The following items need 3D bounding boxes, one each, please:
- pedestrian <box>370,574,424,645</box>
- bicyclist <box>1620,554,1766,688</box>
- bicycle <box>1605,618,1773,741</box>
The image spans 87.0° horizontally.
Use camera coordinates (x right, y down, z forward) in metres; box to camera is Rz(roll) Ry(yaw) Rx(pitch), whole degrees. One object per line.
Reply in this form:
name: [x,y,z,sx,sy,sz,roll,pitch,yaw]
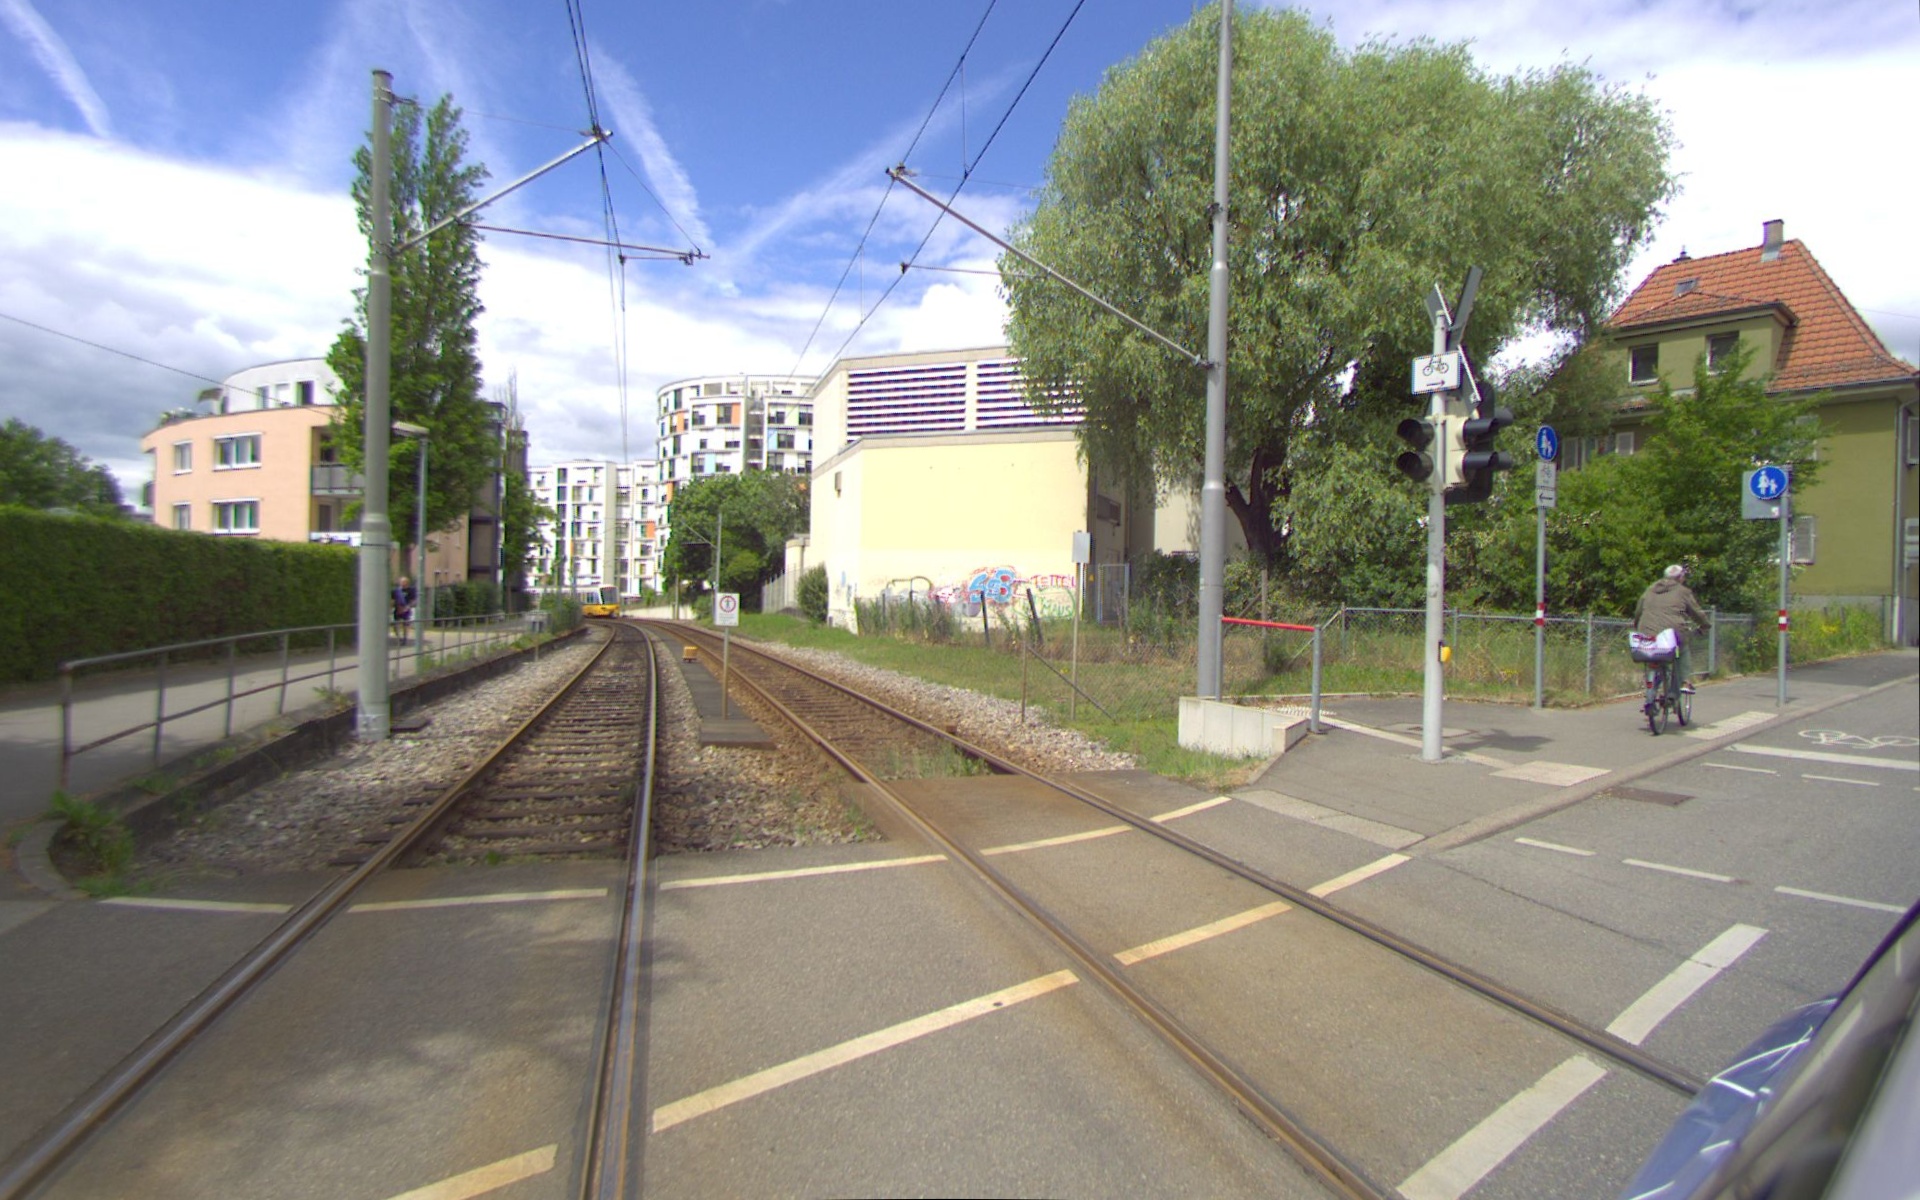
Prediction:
pedestrian: [-13.776,0.223,24.798,0.913,1.708,0.921,1,0,-12]
bicyclist: [7.569,0.184,10.454,1.083,1.262,0.934,0,3,-40]
bicycle: [7.573,0.767,10.490,1.881,1.053,0.934,-1,4,-40]
